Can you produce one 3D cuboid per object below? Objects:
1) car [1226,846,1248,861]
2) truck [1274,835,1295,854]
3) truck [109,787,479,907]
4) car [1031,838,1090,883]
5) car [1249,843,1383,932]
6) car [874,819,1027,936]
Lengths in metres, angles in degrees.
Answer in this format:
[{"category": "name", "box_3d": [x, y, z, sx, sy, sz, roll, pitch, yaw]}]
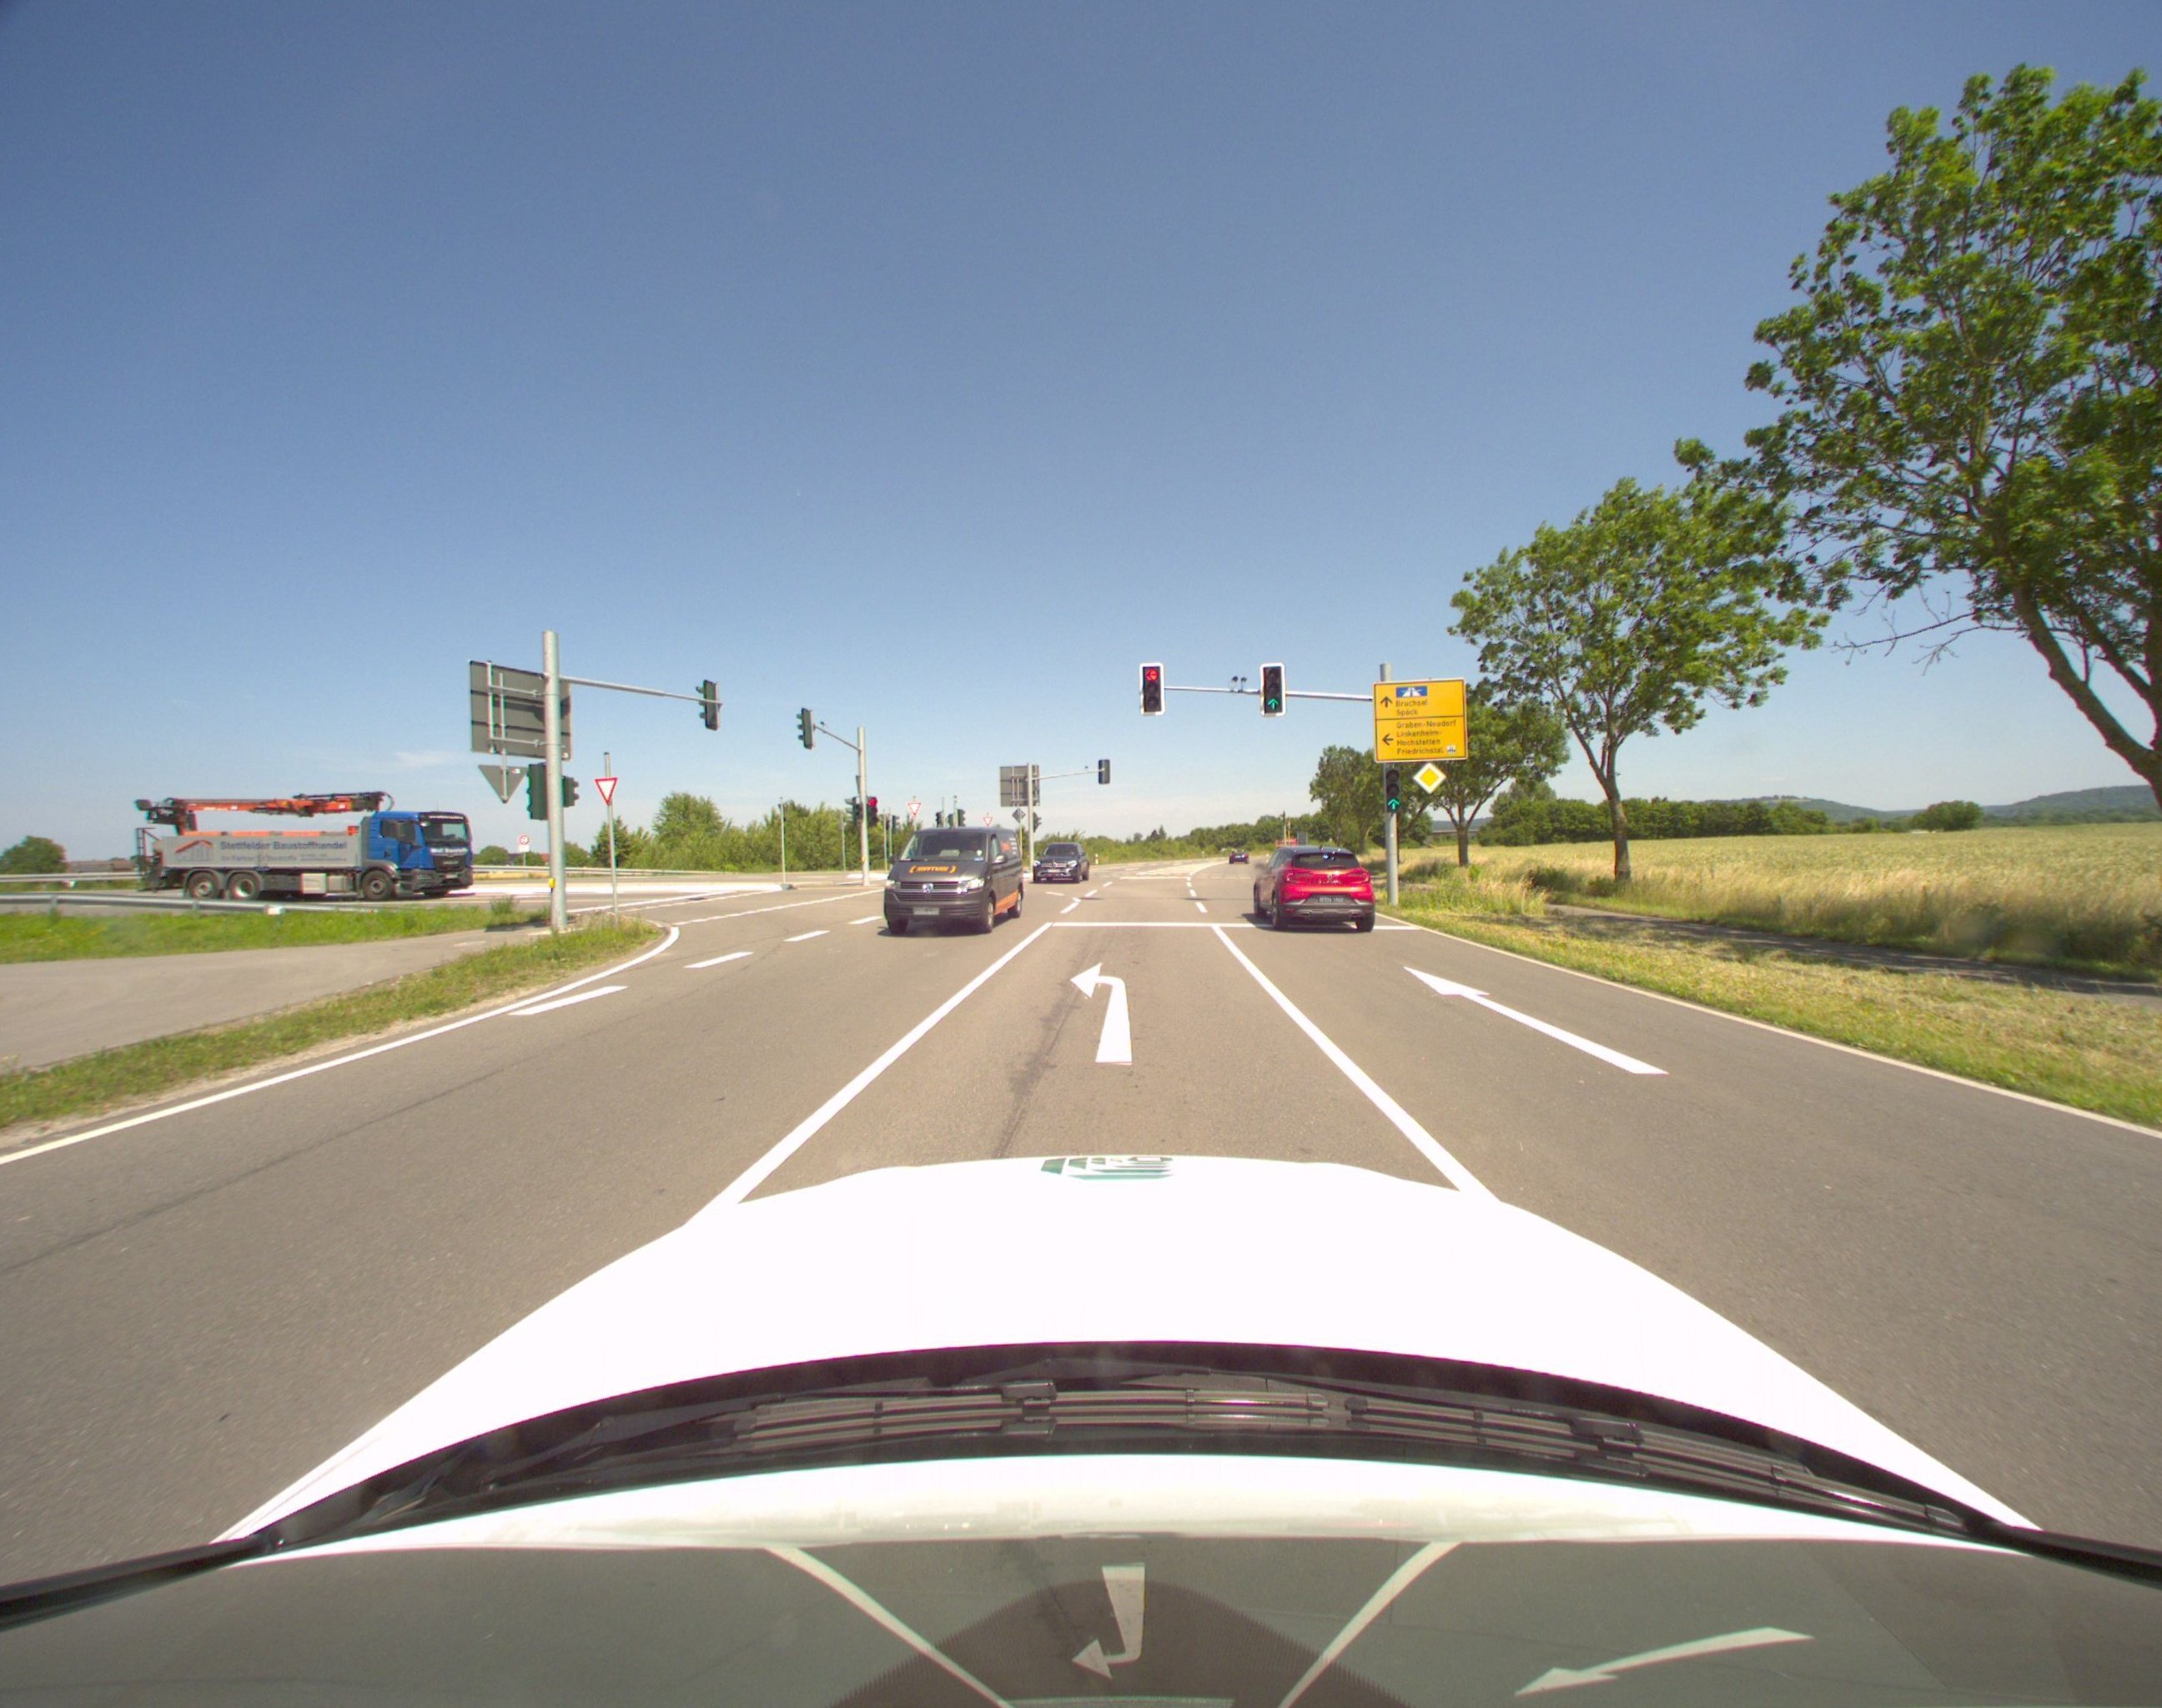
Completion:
[{"category": "car", "box_3d": [14.988, 0.012, 78.088, 1.734, 1.376, 3.694, 0, -1, 16]}, {"category": "truck", "box_3d": [34.121, -1.499, 136.181, 2.692, 3.053, 8.202, -1, -1, 18]}, {"category": "truck", "box_3d": [-26.666, -0.253, 27.890, 10.046, 3.793, 2.626, -1, 0, 0]}, {"category": "car", "box_3d": [-0.780, 0.228, 34.407, 1.921, 1.739, 4.897, -1, 1, 5]}, {"category": "car", "box_3d": [4.561, 0.594, 16.451, 1.813, 1.552, 4.456, 0, 0, 6]}, {"category": "car", "box_3d": [-2.389, 0.385, 16.240, 1.922, 1.978, 4.690, -1, 0, 4]}]
